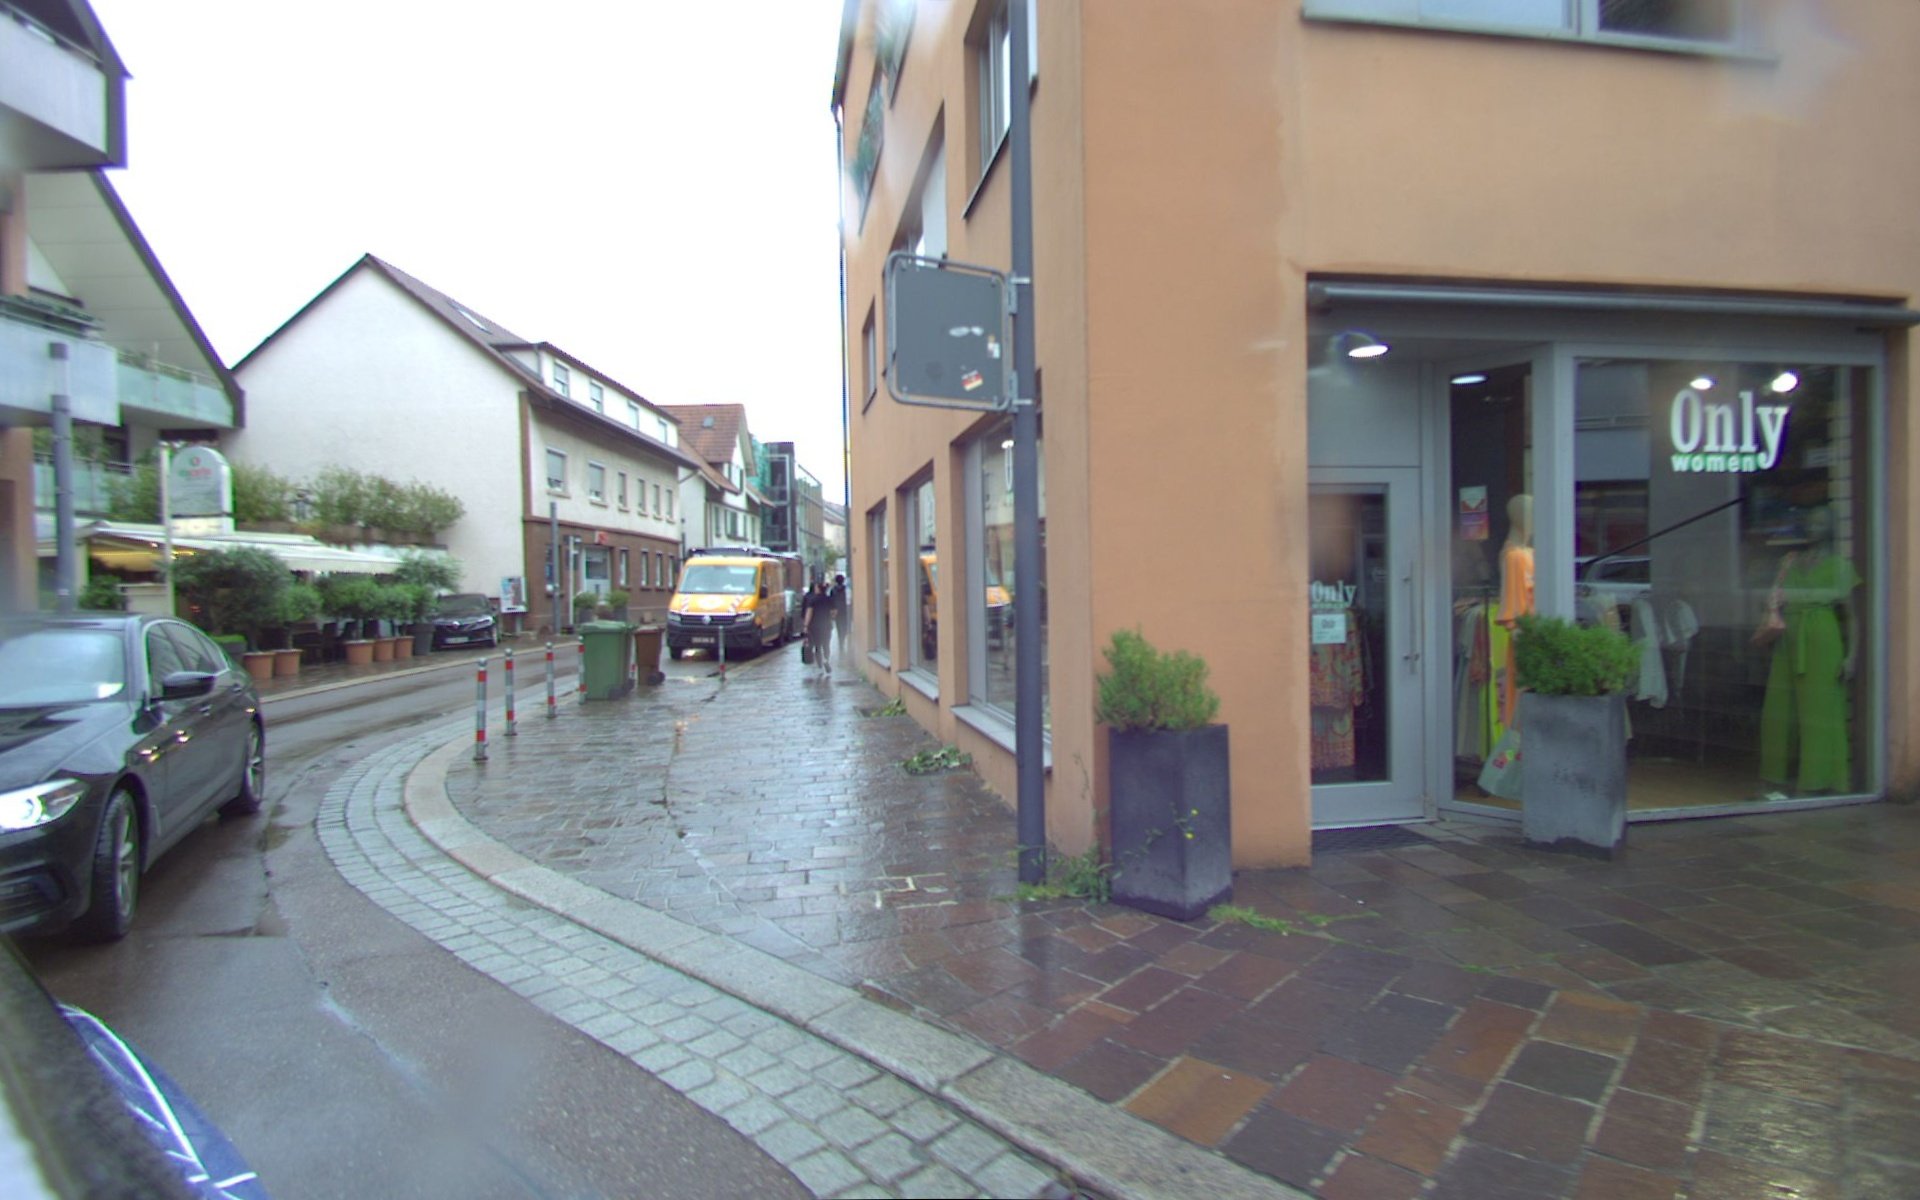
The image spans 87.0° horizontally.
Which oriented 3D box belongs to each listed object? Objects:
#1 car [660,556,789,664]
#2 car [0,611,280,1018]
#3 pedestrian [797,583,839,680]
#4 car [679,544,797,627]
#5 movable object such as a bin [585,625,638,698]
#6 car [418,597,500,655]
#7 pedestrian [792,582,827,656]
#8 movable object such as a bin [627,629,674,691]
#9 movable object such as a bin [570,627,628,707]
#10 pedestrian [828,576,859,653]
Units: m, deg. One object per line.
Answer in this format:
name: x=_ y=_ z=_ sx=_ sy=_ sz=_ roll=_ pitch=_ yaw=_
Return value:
car: x=-5.475 y=0.164 z=24.341 sx=1.971 sy=2.256 sz=5.865 roll=-1 pitch=1 yaw=-3
car: x=-5.162 y=0.823 z=5.351 sx=1.915 sy=1.413 sz=4.434 roll=-1 pitch=1 yaw=-25
pedestrian: x=-2.471 y=0.533 z=17.586 sx=0.651 sy=1.622 sz=0.686 roll=-1 pitch=0 yaw=-11
car: x=-8.579 y=-0.500 z=40.321 sx=2.674 sy=2.895 sz=8.842 roll=-2 pitch=0 yaw=0
movable object such as a bin: x=-5.238 y=0.910 z=15.242 sx=0.648 sy=1.044 sz=0.611 roll=-1 pitch=1 yaw=-10
car: x=-13.085 y=0.622 z=26.589 sx=1.709 sy=1.367 sz=3.950 roll=-1 pitch=1 yaw=-23
pedestrian: x=-3.485 y=0.427 z=23.474 sx=0.706 sy=1.652 sz=0.747 roll=-3 pitch=1 yaw=-8
movable object such as a bin: x=-5.017 y=0.970 z=16.428 sx=0.575 sy=0.934 sz=0.481 roll=-3 pitch=1 yaw=0
movable object such as a bin: x=-4.991 y=0.916 z=14.006 sx=0.648 sy=1.044 sz=0.611 roll=-1 pitch=1 yaw=-10
pedestrian: x=-2.711 y=0.320 z=23.549 sx=0.614 sy=1.725 sz=0.810 roll=-3 pitch=1 yaw=-8
